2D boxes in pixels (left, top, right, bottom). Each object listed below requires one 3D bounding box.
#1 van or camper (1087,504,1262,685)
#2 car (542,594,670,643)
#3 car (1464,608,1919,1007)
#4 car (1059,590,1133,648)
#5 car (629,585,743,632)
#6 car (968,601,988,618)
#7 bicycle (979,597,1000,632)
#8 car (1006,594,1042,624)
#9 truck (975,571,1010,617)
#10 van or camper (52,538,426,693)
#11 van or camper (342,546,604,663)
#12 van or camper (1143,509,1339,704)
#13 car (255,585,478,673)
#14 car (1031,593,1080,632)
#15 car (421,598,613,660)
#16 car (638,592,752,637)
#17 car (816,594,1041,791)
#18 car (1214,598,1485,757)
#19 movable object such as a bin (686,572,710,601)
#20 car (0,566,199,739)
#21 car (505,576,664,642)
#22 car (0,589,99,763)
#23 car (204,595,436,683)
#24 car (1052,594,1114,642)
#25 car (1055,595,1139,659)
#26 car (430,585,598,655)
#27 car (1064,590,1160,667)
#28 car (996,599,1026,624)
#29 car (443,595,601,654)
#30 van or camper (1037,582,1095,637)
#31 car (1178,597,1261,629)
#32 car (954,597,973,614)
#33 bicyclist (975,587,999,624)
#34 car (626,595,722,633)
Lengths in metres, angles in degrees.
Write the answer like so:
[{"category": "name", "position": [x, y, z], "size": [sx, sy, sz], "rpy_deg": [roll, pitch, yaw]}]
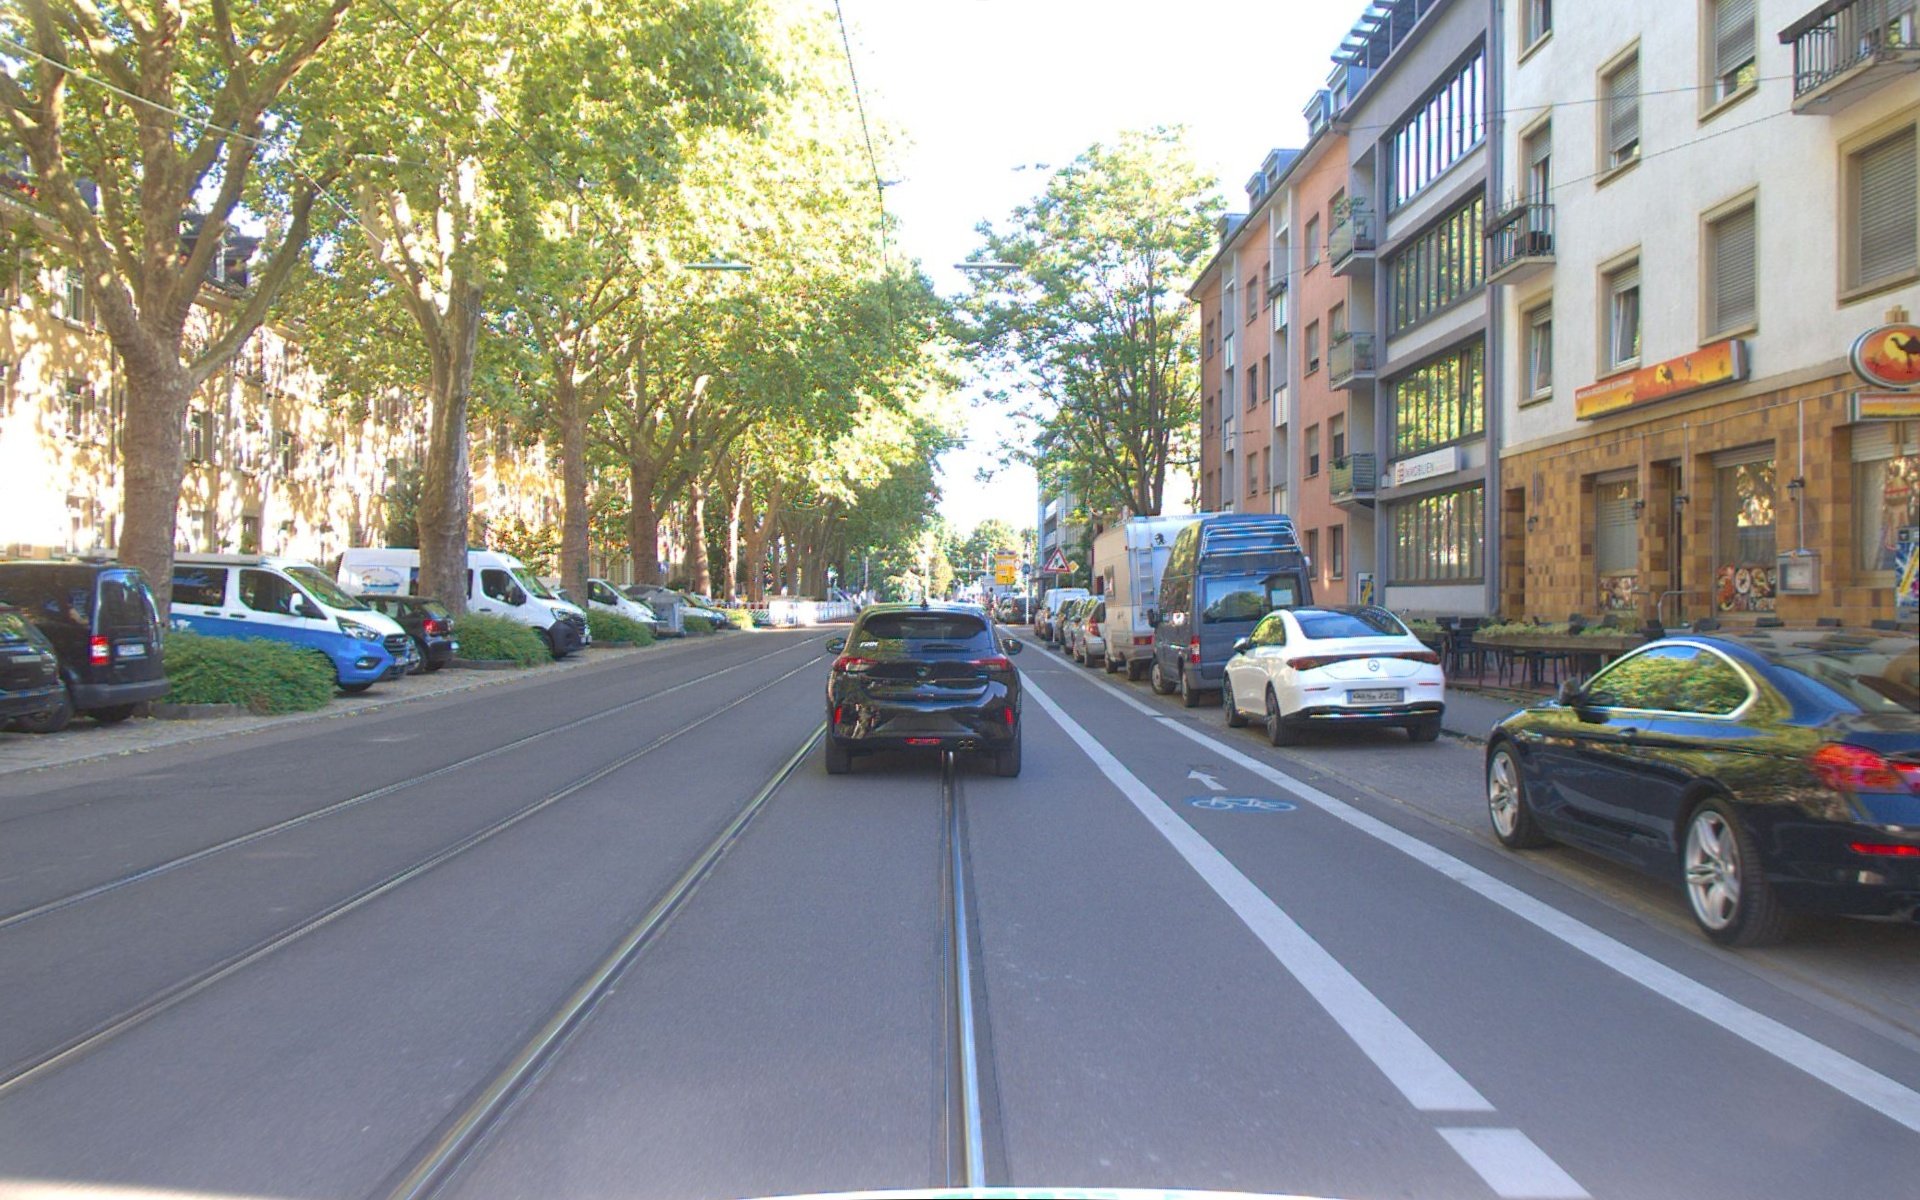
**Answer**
[{"category": "van or camper", "position": [4.027, -0.108, 32.362], "size": [2.412, 3.117, 6.267], "rpy_deg": [-2, 0, -1]}, {"category": "car", "position": [-11.500, 0.592, 53.903], "size": [3.769, 1.524, 1.862], "rpy_deg": [-1, 0, 0]}, {"category": "car", "position": [4.395, 0.800, 8.682], "size": [1.953, 1.405, 4.739], "rpy_deg": [-2, 0, -1]}, {"category": "car", "position": [4.017, 0.529, 49.324], "size": [1.732, 1.599, 4.336], "rpy_deg": [-2, 0, -1]}, {"category": "car", "position": [-10.633, 0.329, 64.314], "size": [4.112, 1.788, 1.740], "rpy_deg": [0, 0, 0]}, {"category": "car", "position": [2.002, 1.043, 185.459], "size": [1.953, 1.725, 4.739], "rpy_deg": [-2, 0, -1]}, {"category": "bicycle", "position": [1.332, 0.645, 75.964], "size": [0.897, 1.588, 3.404], "rpy_deg": [0, 0, 0]}, {"category": "car", "position": [3.463, 0.473, 89.731], "size": [1.698, 1.487, 3.915], "rpy_deg": [-2, 0, -1]}, {"category": "truck", "position": [2.583, -0.456, 131.528], "size": [2.486, 3.396, 7.194], "rpy_deg": [-3, 0, 0]}, {"category": "van or camper", "position": [-10.777, 0.231, 25.043], "size": [4.725, 2.228, 2.117], "rpy_deg": [0, 0, -5]}, {"category": "van or camper", "position": [-11.113, 0.090, 38.070], "size": [5.278, 2.560, 2.445], "rpy_deg": [0, 0, 1]}, {"category": "van or camper", "position": [4.291, 0.087, 26.134], "size": [2.089, 2.709, 4.978], "rpy_deg": [-2, 0, -1]}, {"category": "car", "position": [-11.216, 0.536, 31.397], "size": [3.605, 1.592, 1.613], "rpy_deg": [0, 0, 2]}, {"category": "car", "position": [3.781, 0.482, 66.261], "size": [1.671, 1.498, 3.999], "rpy_deg": [-1, 0, -1]}, {"category": "car", "position": [-10.736, 0.697, 40.295], "size": [4.177, 1.423, 1.753], "rpy_deg": [-1, 0, -1]}, {"category": "car", "position": [-10.625, 0.579, 66.492], "size": [4.144, 1.717, 1.934], "rpy_deg": [-1, 0, 6]}, {"category": "car", "position": [-0.278, 0.717, 14.912], "size": [1.745, 1.522, 3.999], "rpy_deg": [0, 0, -1]}, {"category": "car", "position": [4.303, 0.777, 19.083], "size": [1.953, 1.519, 4.739], "rpy_deg": [-2, 0, 0]}, {"category": "movable object such as a bin", "position": [-17.746, -0.920, 112.095], "size": [1.306, 1.901, 2.007], "rpy_deg": [1, -1, -1]}, {"category": "car", "position": [-10.772, 0.555, 18.611], "size": [3.607, 1.846, 1.704], "rpy_deg": [0, 0, -1]}, {"category": "car", "position": [-11.509, 0.271, 50.961], "size": [4.568, 1.979, 1.959], "rpy_deg": [0, 0, -7]}, {"category": "car", "position": [-10.825, 0.707, 16.394], "size": [3.611, 1.652, 1.797], "rpy_deg": [0, 0, -6]}, {"category": "car", "position": [-11.123, 0.670, 28.938], "size": [3.463, 1.485, 1.694], "rpy_deg": [0, 0, -7]}, {"category": "car", "position": [3.998, 0.567, 54.403], "size": [1.671, 1.498, 4.167], "rpy_deg": [-1, 0, -1]}, {"category": "car", "position": [3.599, 0.670, 44.095], "size": [1.752, 1.548, 4.321], "rpy_deg": [-2, 0, -1]}, {"category": "car", "position": [-11.405, 0.498, 42.457], "size": [3.769, 1.692, 1.862], "rpy_deg": [-1, 0, 0]}, {"category": "car", "position": [3.520, 0.631, 38.963], "size": [1.756, 1.656, 4.275], "rpy_deg": [-2, 0, -1]}, {"category": "car", "position": [3.185, 0.705, 103.305], "size": [1.625, 1.424, 4.739], "rpy_deg": [-2, 0, -1]}, {"category": "car", "position": [-11.804, 0.647, 44.774], "size": [3.769, 1.524, 1.862], "rpy_deg": [-1, 0, 0]}, {"category": "van or camper", "position": [3.793, 0.315, 59.974], "size": [1.719, 1.897, 4.829], "rpy_deg": [-1, 0, -1]}, {"category": "car", "position": [12.780, 0.646, 81.680], "size": [3.834, 1.508, 1.561], "rpy_deg": [0, 3, -2]}, {"category": "car", "position": [0.366, 0.567, 176.659], "size": [1.953, 1.725, 4.739], "rpy_deg": [-2, 0, -1]}, {"category": "bicyclist", "position": [1.246, 0.265, 76.144], "size": [1.067, 1.676, 1.400], "rpy_deg": [0, 0, 0]}, {"category": "car", "position": [-12.202, 0.584, 70.655], "size": [3.769, 1.524, 1.862], "rpy_deg": [-1, 0, 0]}]
